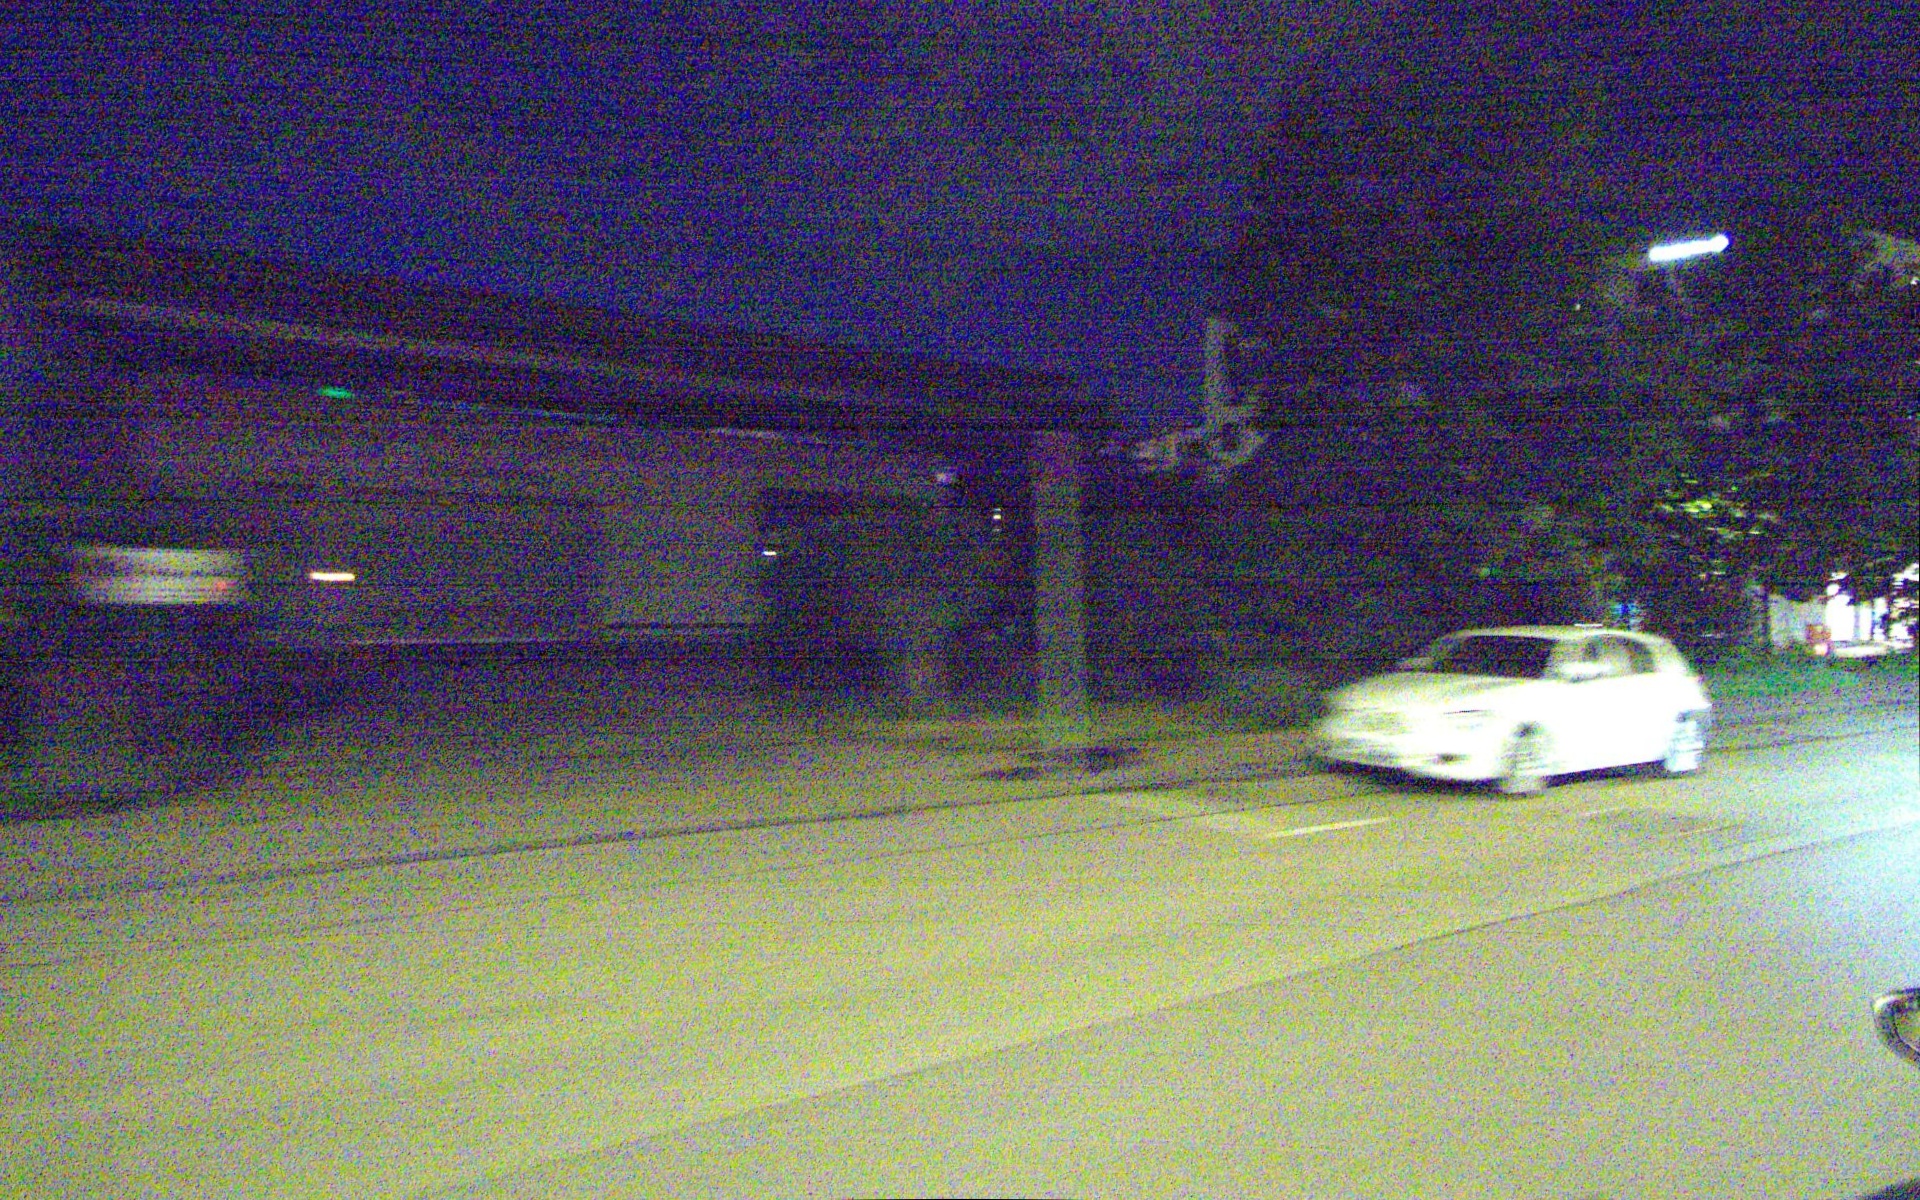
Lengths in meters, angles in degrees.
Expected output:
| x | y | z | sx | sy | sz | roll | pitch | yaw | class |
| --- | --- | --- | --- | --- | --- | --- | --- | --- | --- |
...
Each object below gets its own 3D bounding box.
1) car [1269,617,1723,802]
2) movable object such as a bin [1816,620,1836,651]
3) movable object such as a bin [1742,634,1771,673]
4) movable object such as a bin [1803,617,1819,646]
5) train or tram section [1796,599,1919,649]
| x | y | z | sx | sy | sz | roll | pitch | yaw | class |
| --- | --- | --- | --- | --- | --- | --- | --- | --- | --- |
| 5.211 | 0.895 | 9.659 | 4.286 | 1.422 | 1.902 | 1 | -1 | -30 | car |
| 41.958 | 1.723 | 48.683 | 0.798 | 1.471 | 0.439 | 0 | 0 | -27 | movable object such as a bin |
| 27.354 | 1.838 | 34.521 | 0.608 | 1.324 | 0.568 | -1 | -2 | 22 | movable object such as a bin |
| 41.030 | 1.520 | 48.423 | 0.723 | 1.389 | 0.354 | -2 | 0 | -29 | movable object such as a bin |
| 74.823 | 1.825 | 75.607 | 2.882 | 3.874 | 19.127 | 1 | -1 | -23 | train or tram section |
